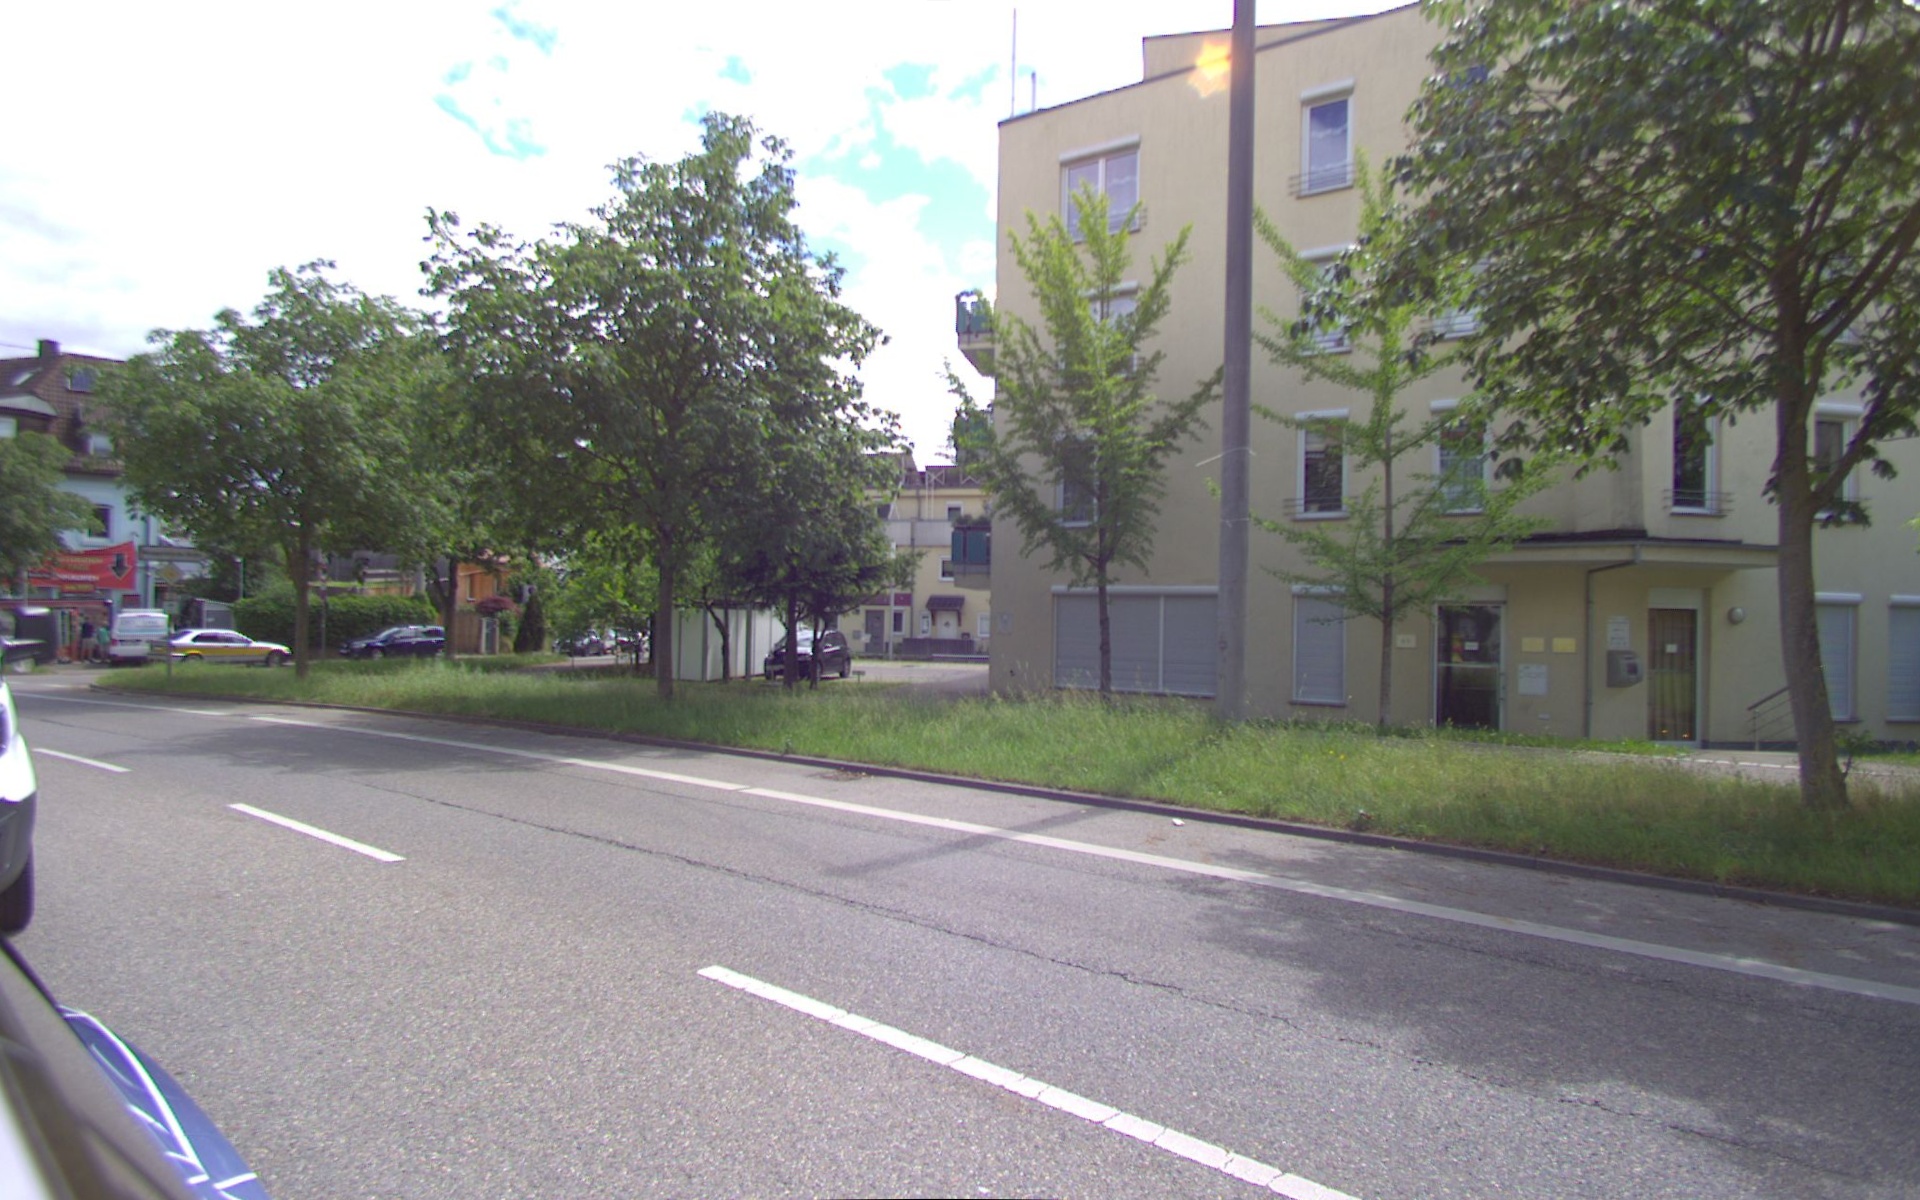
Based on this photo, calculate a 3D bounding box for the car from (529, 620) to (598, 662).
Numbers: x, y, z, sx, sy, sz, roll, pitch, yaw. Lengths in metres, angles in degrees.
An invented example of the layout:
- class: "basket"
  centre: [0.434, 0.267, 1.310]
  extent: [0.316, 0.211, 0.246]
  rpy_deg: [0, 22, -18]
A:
- class: "car"
  centre: [-19.970, 2.057, 51.149]
  extent: [1.953, 2.029, 4.000]
  rpy_deg: [0, -2, -1]

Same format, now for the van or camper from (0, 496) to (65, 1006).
- class: "van or camper"
  centre: [-6.285, 0.622, 5.059]
  extent: [5.099, 2.029, 2.001]
  rpy_deg: [-1, -2, 41]

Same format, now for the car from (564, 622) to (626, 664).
- class: "car"
  centre: [-19.873, 2.313, 55.301]
  extent: [1.972, 2.029, 4.001]
  rpy_deg: [-1, 1, -1]

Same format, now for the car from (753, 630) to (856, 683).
- class: "car"
  centre: [-4.558, 1.695, 30.239]
  extent: [1.774, 1.431, 3.986]
  rpy_deg: [1, -3, 11]

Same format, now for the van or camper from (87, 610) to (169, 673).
- class: "van or camper"
  centre: [-30.266, 1.463, 36.771]
  extent: [3.811, 2.105, 1.770]
  rpy_deg: [0, 1, 43]

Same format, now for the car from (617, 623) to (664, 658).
- class: "car"
  centre: [-20.340, 2.537, 64.482]
  extent: [1.870, 2.029, 4.002]
  rpy_deg: [-1, 1, -3]

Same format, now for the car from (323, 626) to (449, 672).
- class: "car"
  centre: [-22.510, 1.873, 39.810]
  extent: [1.715, 1.695, 3.929]
  rpy_deg: [0, -1, 37]

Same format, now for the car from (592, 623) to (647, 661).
- class: "car"
  centre: [-20.014, 2.454, 59.689]
  extent: [1.971, 2.029, 4.001]
  rpy_deg: [-1, 1, -1]

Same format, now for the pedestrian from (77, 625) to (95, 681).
- class: "pedestrian"
  centre: [-32.460, 1.959, 37.579]
  extent: [0.363, 2.029, 0.419]
  rpy_deg: [0, 1, 42]

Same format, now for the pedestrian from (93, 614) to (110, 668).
- class: "pedestrian"
  centre: [-32.160, 1.521, 37.905]
  extent: [0.443, 2.005, 0.378]
  rpy_deg: [0, 1, 40]

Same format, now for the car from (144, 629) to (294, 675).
- class: "car"
  centre: [-25.899, 1.784, 35.518]
  extent: [1.528, 1.332, 4.008]
  rpy_deg: [-1, 1, 27]
